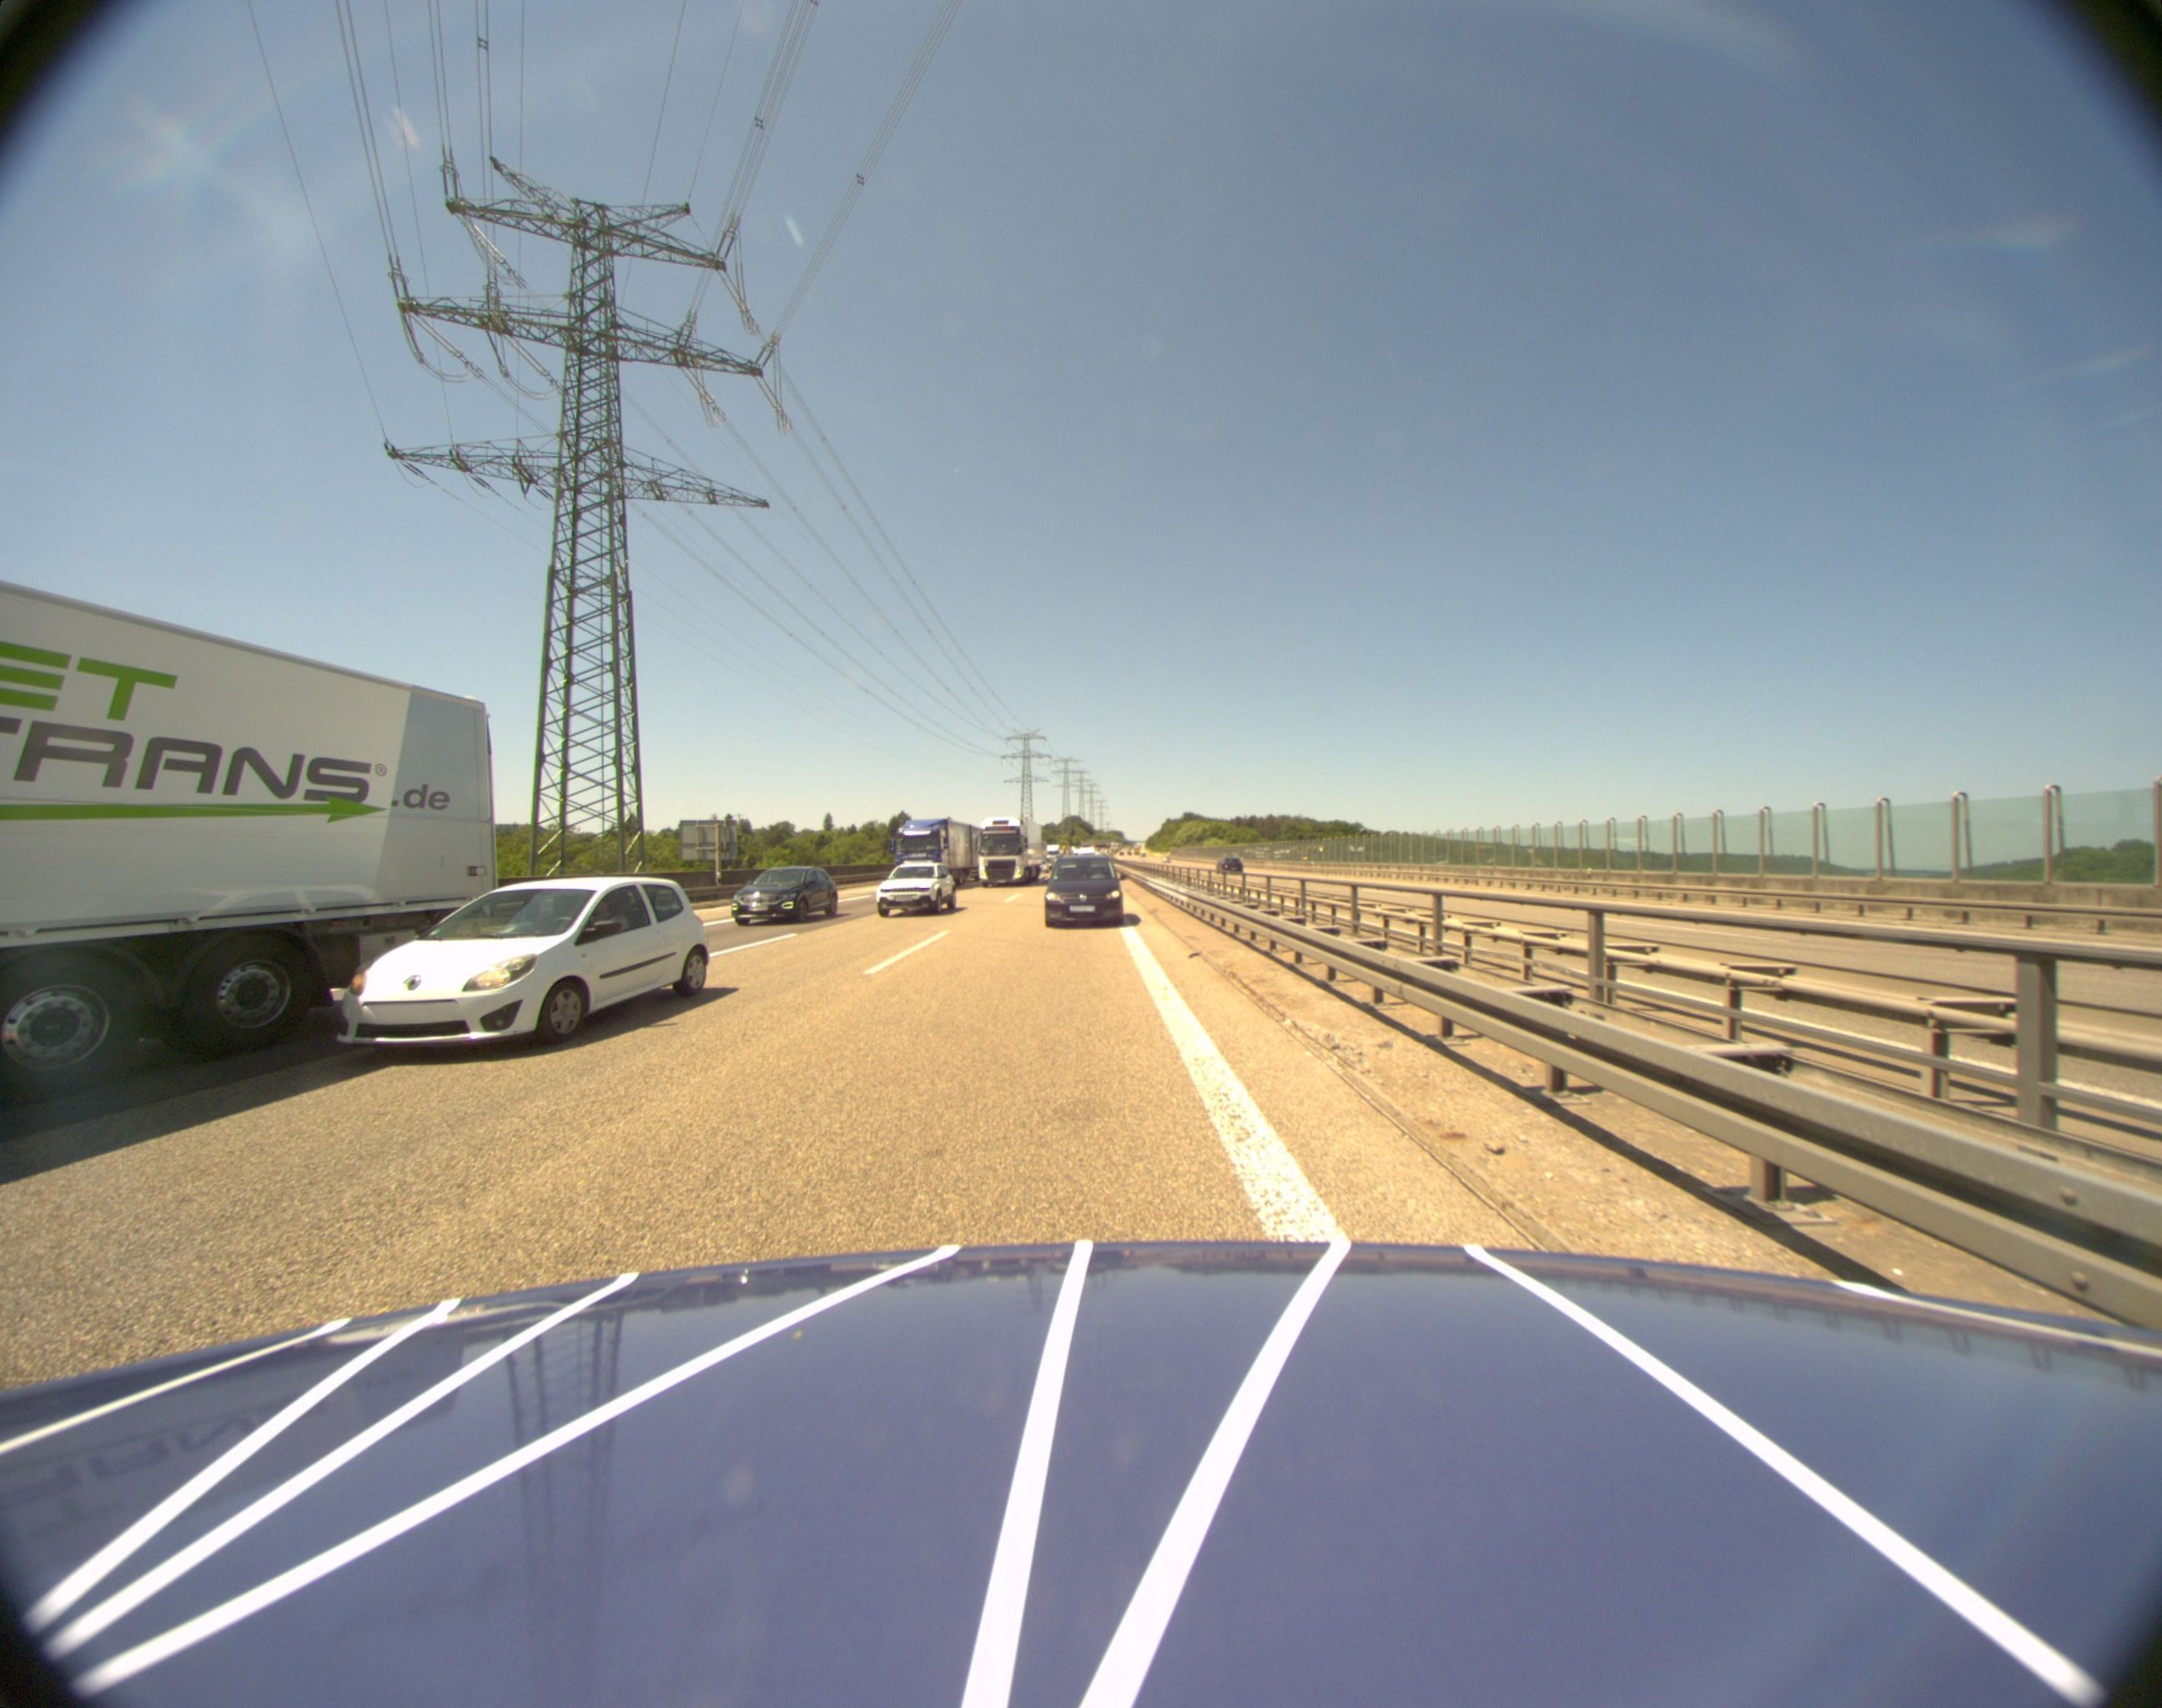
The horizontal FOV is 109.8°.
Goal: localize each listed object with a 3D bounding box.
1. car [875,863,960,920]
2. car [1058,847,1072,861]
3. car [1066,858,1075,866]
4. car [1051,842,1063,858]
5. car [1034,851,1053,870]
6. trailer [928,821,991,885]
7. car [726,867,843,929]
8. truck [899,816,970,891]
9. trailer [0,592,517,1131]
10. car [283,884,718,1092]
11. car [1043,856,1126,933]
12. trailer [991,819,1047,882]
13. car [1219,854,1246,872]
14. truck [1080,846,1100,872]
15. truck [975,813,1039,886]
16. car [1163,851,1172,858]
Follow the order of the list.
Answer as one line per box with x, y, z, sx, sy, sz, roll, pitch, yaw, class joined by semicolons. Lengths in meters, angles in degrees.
-4.904;1.074;23.273;1.722;1.526;3.753;-2;0;0;car
-2.483;0.011;117.388;1.998;2.002;4.000;-2;1;1;car
-2.062;1.572;149.484;1.701;1.599;3.639;-2;1;1;car
-5.326;-0.954;166.731;2.273;3.303;6.288;-2;1;0;car
-3.891;0.648;79.230;1.672;1.761;3.846;-2;1;1;car
-8.381;-0.122;53.900;2.543;3.971;10.884;-2;1;0;trailer
-8.312;1.166;21.690;1.709;1.497;3.889;-2;0;1;car
-8.373;-0.016;44.477;2.517;3.944;7.927;-2;0;0;truck
-8.581;0.087;5.382;2.852;3.573;8.291;-2;0;0;trailer
-5.390;1.118;7.740;1.584;1.432;3.629;-2;0;0;car
0.081;0.872;18.254;1.739;1.607;3.911;-2;0;0;car
-4.173;-0.268;53.324;2.898;3.847;9.773;-2;1;1;trailer
14.040;0.839;70.685;1.784;1.560;4.387;1;0;2;car
1.010;0.498;86.086;2.100;2.700;5.864;-2;1;1;truck
-4.243;-0.269;45.052;2.914;3.869;6.740;-2;1;0;truck
19.578;0.068;171.616;1.608;1.386;3.676;1;1;1;car
